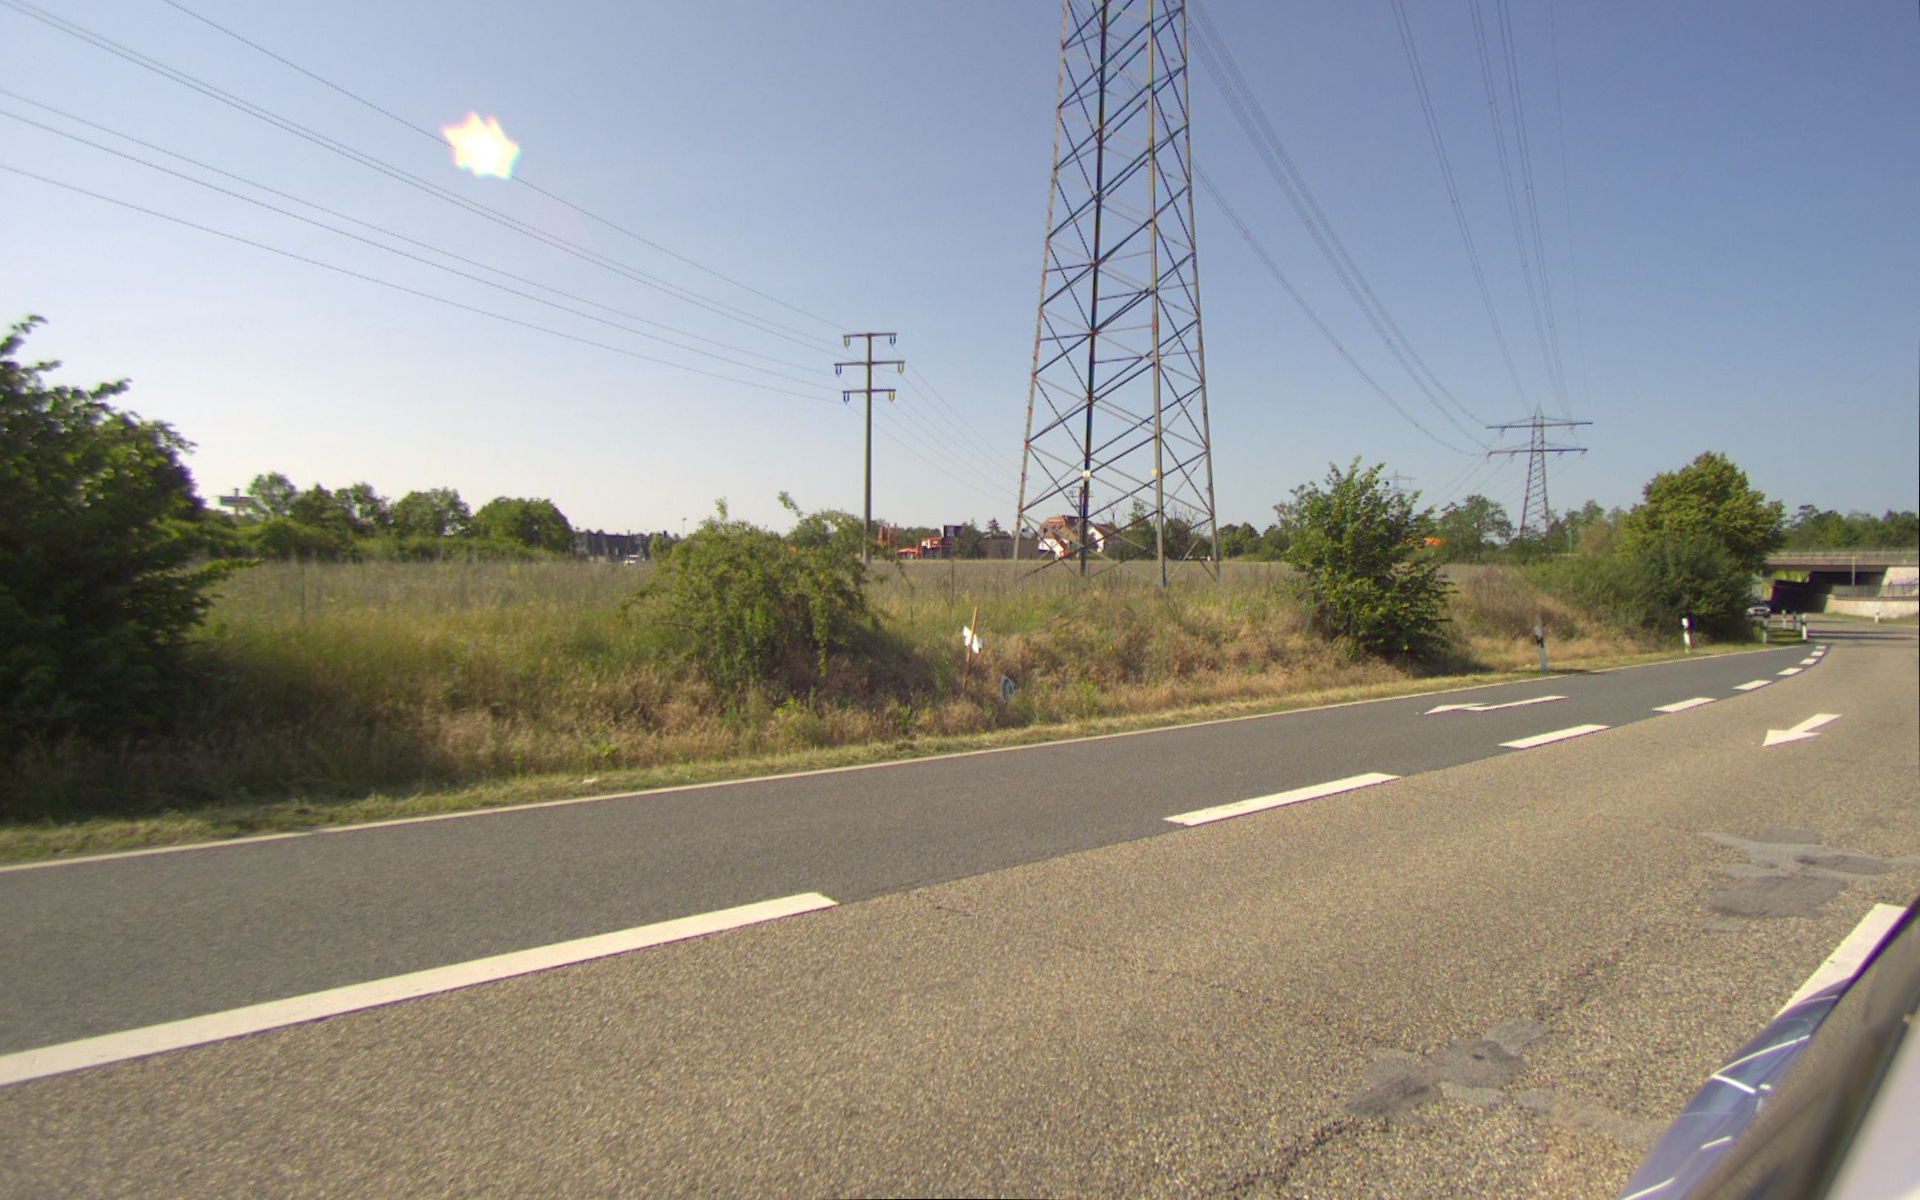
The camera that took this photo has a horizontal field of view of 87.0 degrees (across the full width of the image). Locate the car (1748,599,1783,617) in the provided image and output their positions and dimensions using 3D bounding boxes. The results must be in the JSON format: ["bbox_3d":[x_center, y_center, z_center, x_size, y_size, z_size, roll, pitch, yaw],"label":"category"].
[{"bbox_3d":[78.464,0.749,98.632,1.841,1.639,3.617,1,0,24],"label":"car"}]
